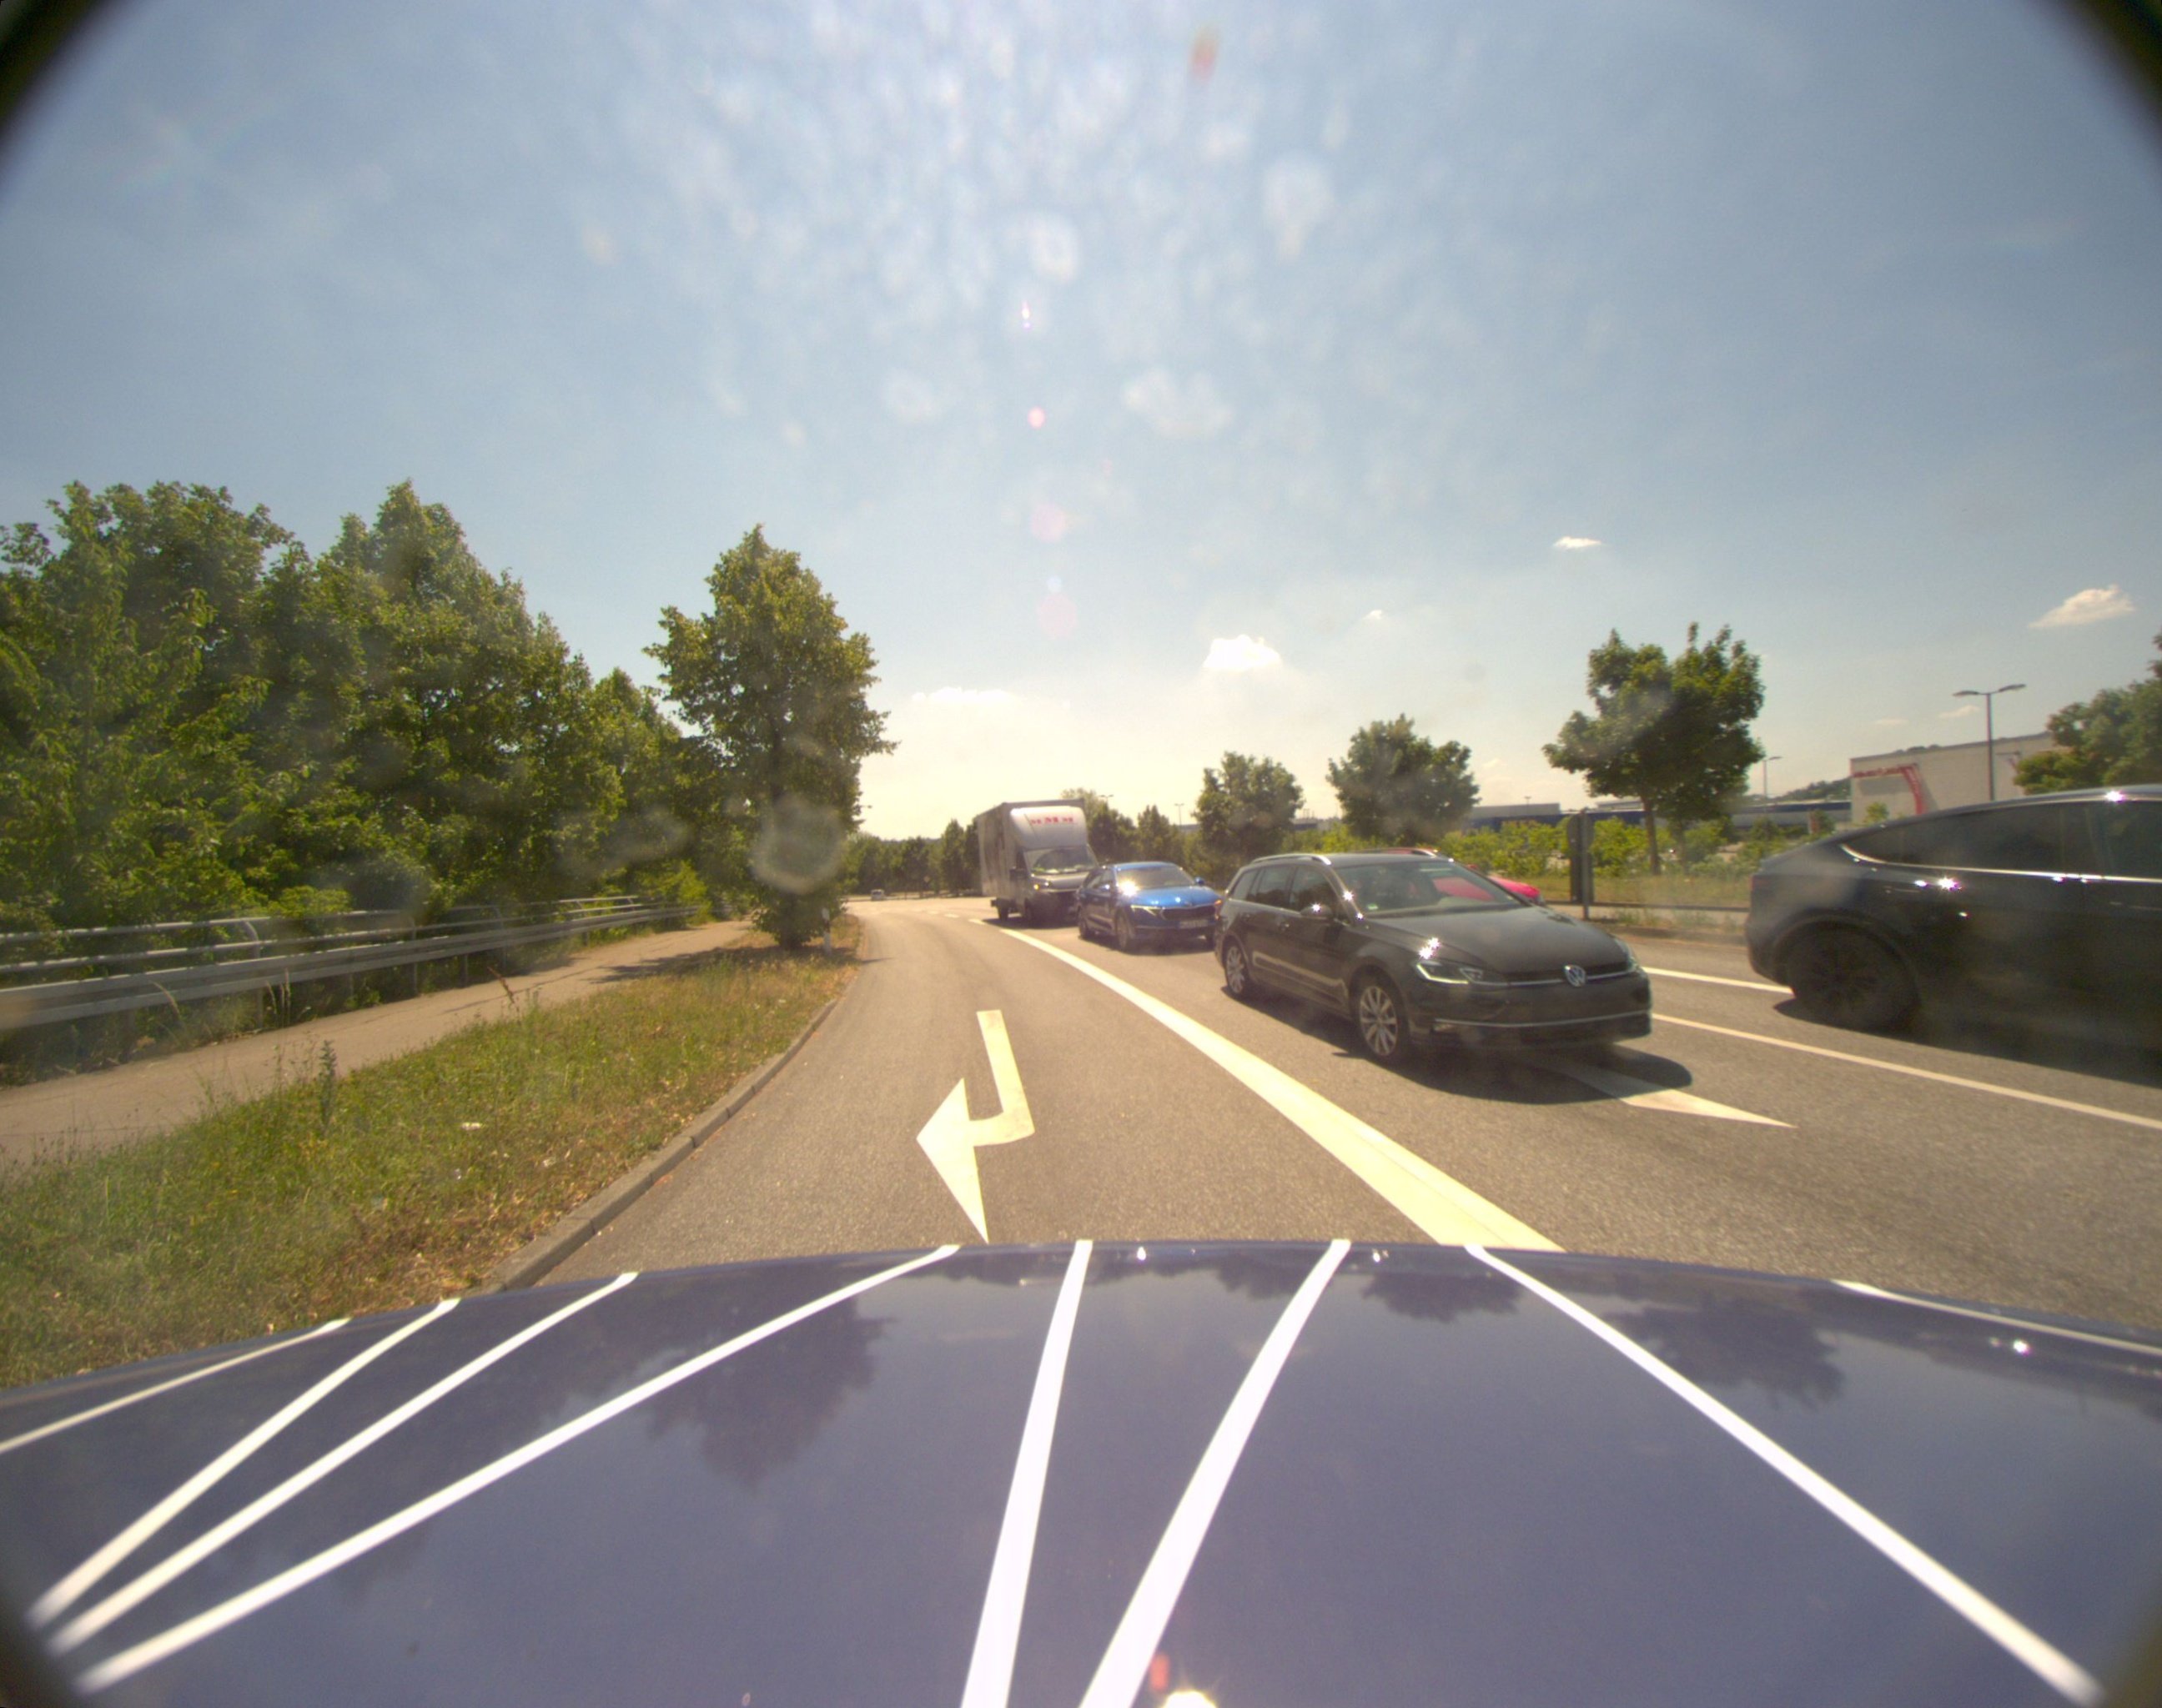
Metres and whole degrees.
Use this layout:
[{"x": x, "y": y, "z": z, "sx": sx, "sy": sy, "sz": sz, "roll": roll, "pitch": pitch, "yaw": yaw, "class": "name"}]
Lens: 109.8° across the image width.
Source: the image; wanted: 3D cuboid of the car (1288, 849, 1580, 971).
[{"x": 5.001, "y": 0.689, "z": 11.591, "sx": 1.666, "sy": 1.380, "sz": 4.445, "roll": -4, "pitch": 1, "yaw": -11, "class": "car"}]

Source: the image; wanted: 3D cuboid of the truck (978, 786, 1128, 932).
[{"x": -1.097, "y": 0.222, "z": 21.463, "sx": 2.417, "sy": 3.327, "sz": 7.195, "roll": -3, "pitch": -1, "yaw": -16, "class": "truck"}]

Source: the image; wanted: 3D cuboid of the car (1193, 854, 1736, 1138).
[{"x": 2.572, "y": 0.801, "z": 6.508, "sx": 1.784, "sy": 1.474, "sz": 4.425, "roll": -3, "pitch": 0, "yaw": -11, "class": "car"}]

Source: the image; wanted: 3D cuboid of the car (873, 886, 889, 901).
[{"x": -28.939, "y": 5.652, "z": 109.871, "sx": 2.001, "sy": 1.949, "sz": 3.995, "roll": -3, "pitch": 0, "yaw": -16, "class": "car"}]

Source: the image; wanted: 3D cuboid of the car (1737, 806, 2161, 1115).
[{"x": 6.542, "y": 0.517, "z": 3.965, "sx": 1.881, "sy": 1.591, "sz": 4.501, "roll": -3, "pitch": 0, "yaw": -10, "class": "car"}]

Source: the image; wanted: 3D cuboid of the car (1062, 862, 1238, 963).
[{"x": 1.057, "y": 0.970, "z": 14.101, "sx": 1.714, "sy": 1.453, "sz": 4.484, "roll": -3, "pitch": -1, "yaw": -15, "class": "car"}]
